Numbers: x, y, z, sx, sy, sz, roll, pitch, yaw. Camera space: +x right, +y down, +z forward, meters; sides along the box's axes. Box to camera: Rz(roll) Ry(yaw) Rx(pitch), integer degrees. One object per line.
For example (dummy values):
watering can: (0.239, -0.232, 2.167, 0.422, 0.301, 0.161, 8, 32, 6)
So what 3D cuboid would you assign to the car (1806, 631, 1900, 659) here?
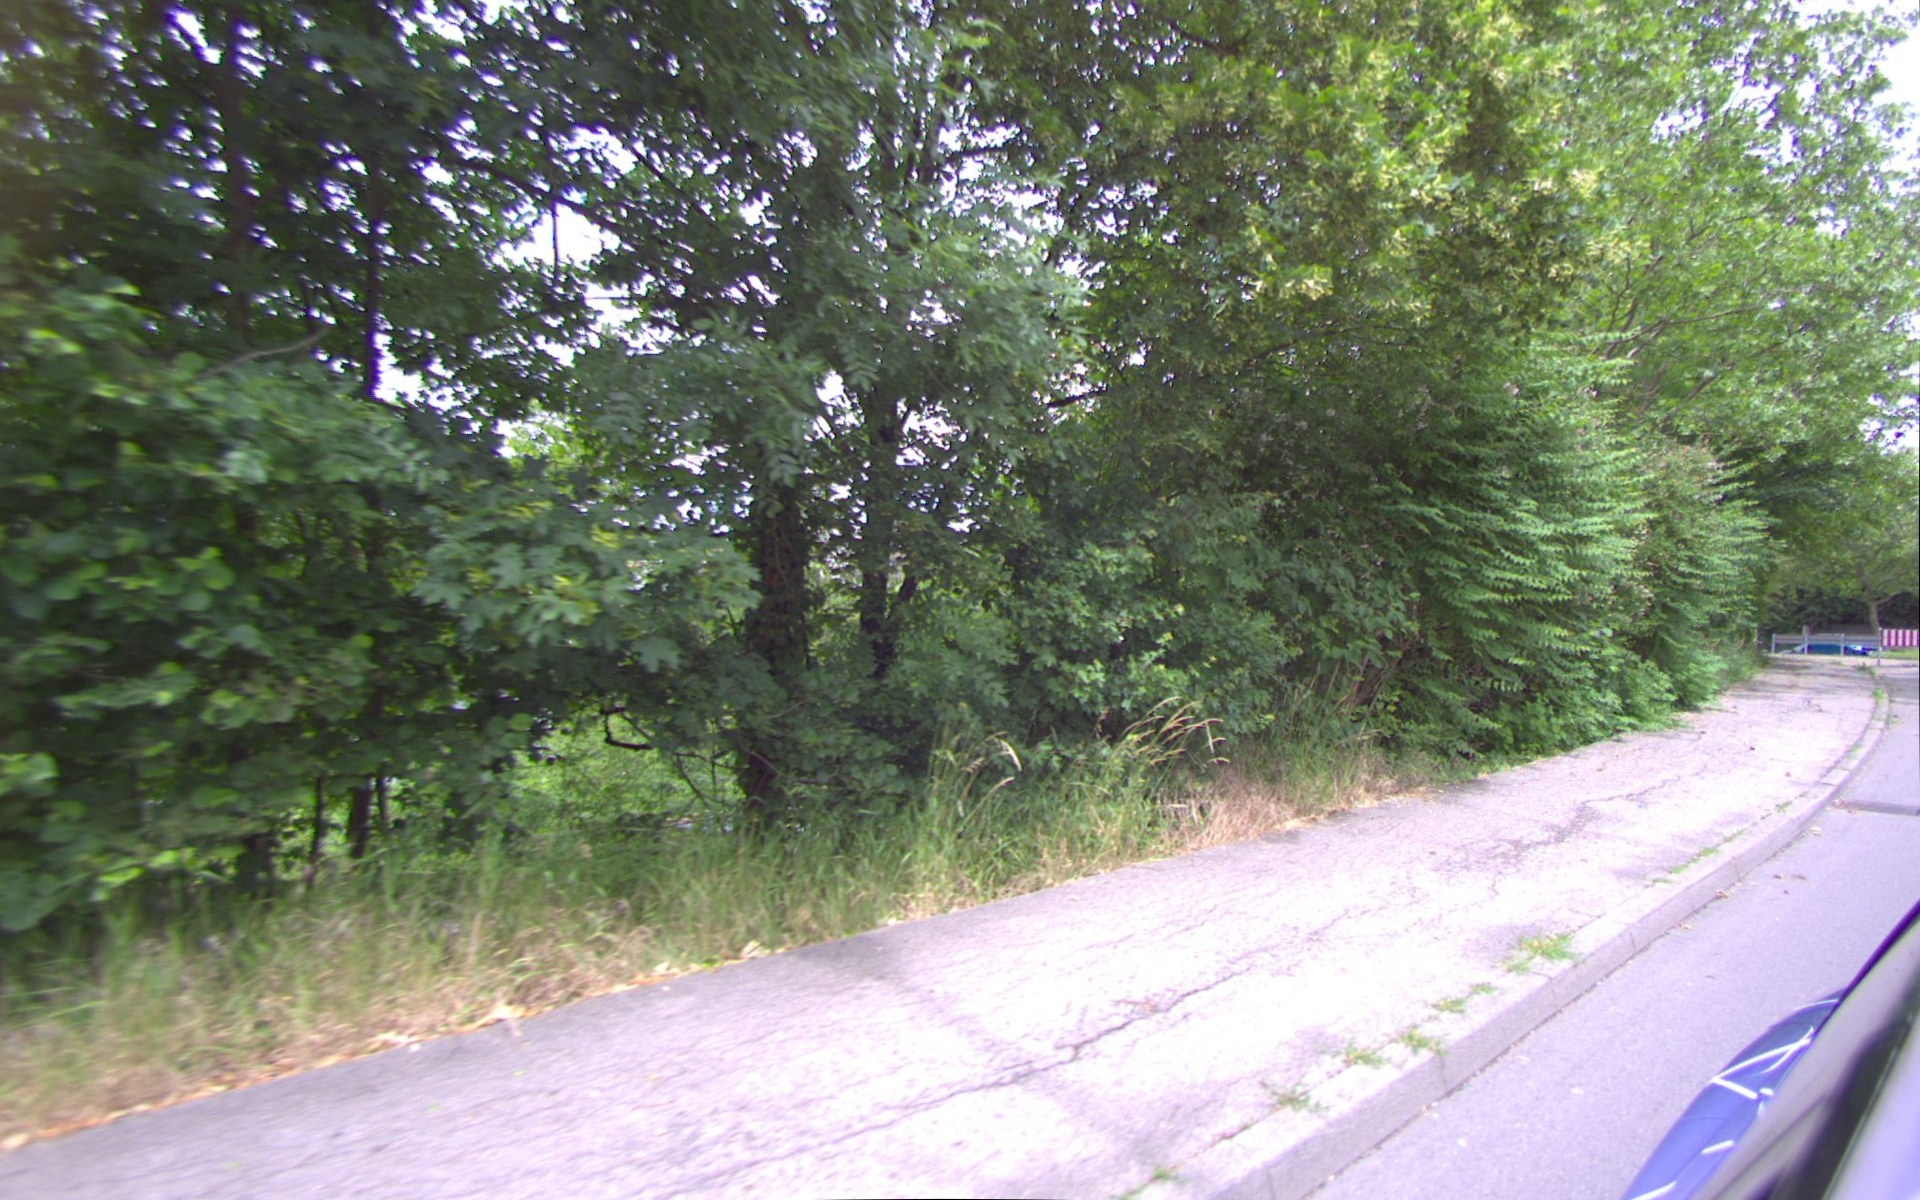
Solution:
car: (52.855, 2.627, 60.002, 1.763, 1.447, 4.146, 5, -2, 0)

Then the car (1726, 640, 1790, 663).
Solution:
car: (63.078, 4.059, 80.094, 1.763, 1.624, 4.037, 3, -2, 0)
